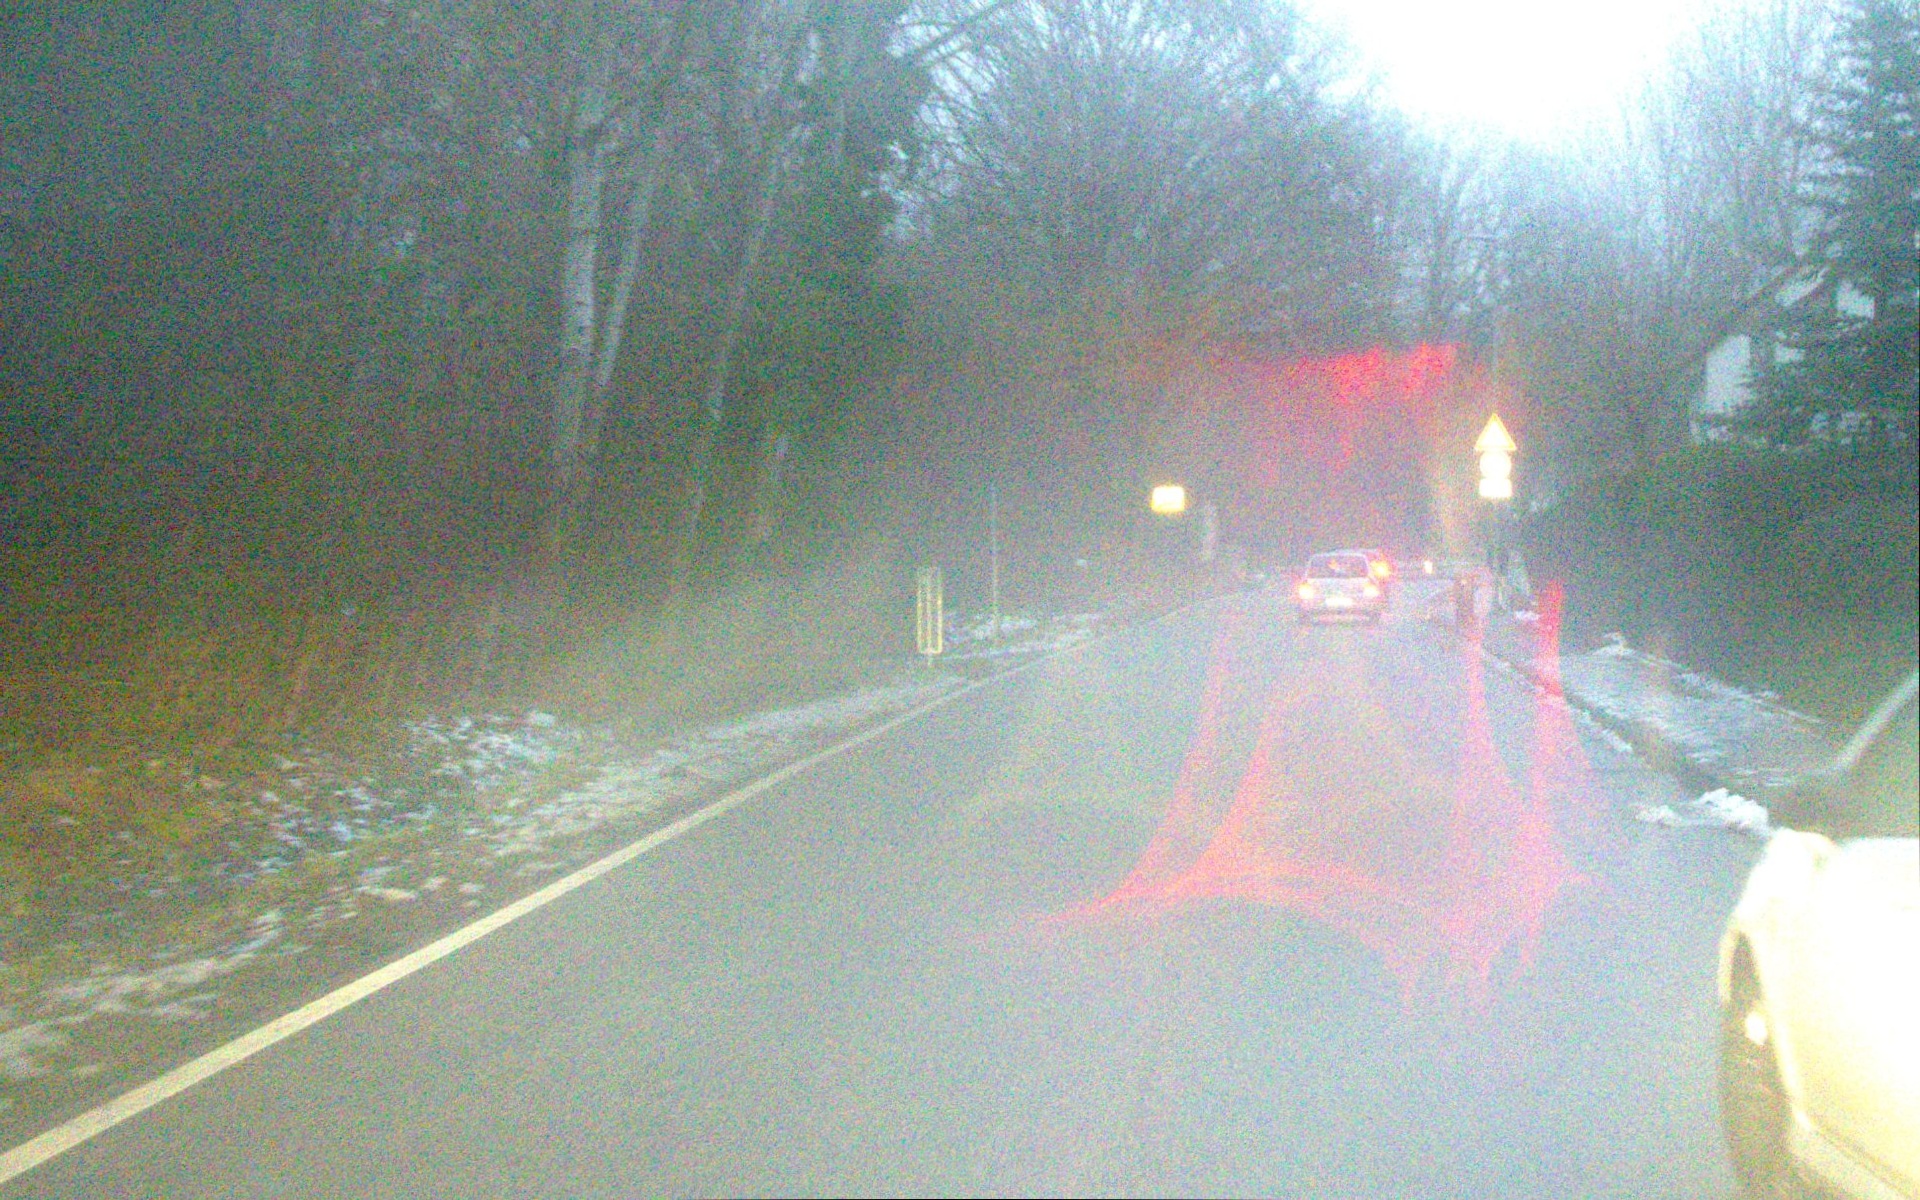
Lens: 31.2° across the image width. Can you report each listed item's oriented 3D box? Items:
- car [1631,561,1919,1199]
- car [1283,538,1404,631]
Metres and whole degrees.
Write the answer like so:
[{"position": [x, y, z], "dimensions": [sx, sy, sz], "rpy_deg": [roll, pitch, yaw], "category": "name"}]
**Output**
[{"position": [2.558, 0.691, 6.801], "dimensions": [1.704, 1.501, 4.025], "rpy_deg": [1, 0, 1], "category": "car"}, {"position": [7.665, -0.331, 68.502], "dimensions": [1.934, 1.775, 3.998], "rpy_deg": [0, 1, 13], "category": "car"}]
